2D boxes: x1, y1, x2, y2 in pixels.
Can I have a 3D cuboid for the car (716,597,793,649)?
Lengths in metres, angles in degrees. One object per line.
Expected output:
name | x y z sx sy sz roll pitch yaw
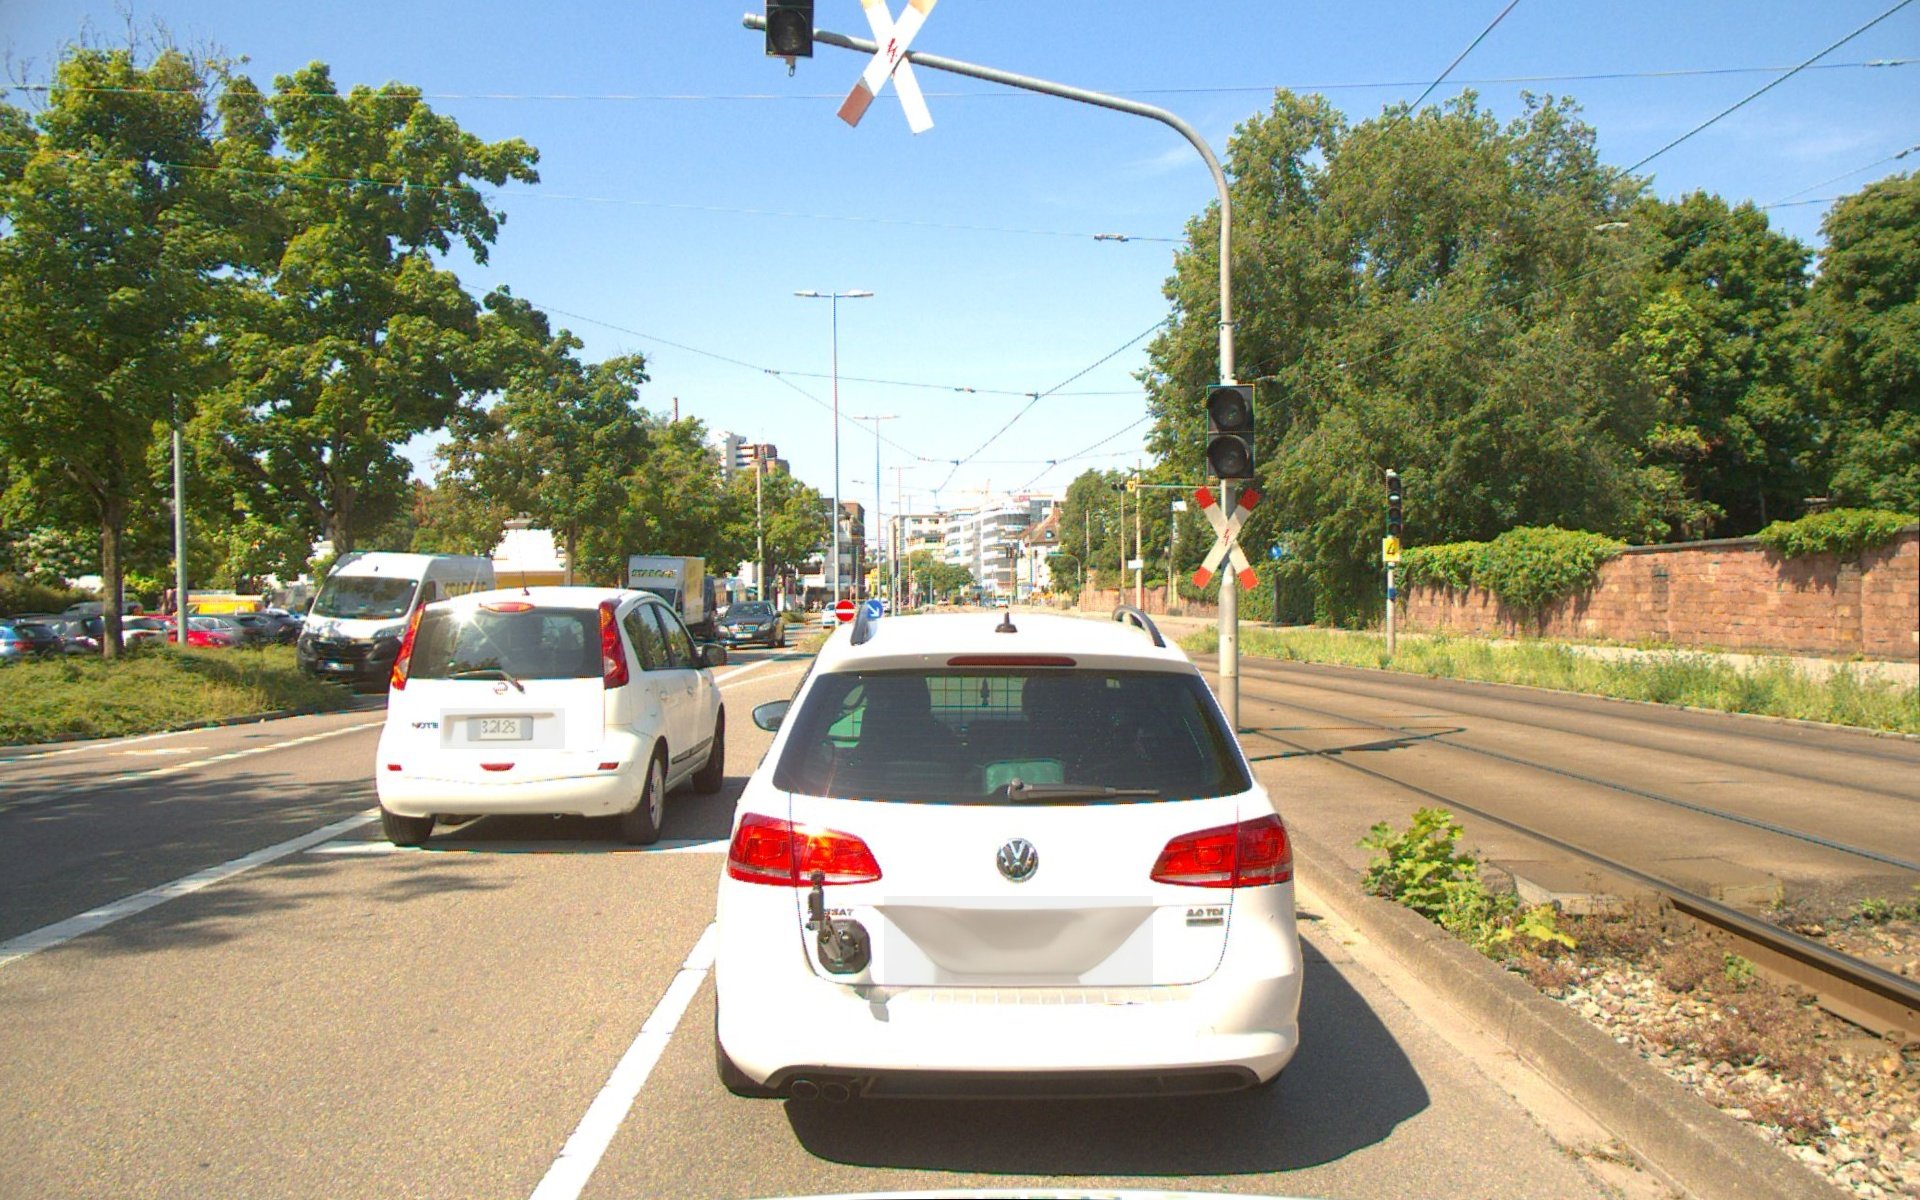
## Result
car | -6.243 0.669 50.665 1.748 1.434 4.306 -1 1 1

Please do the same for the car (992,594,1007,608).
car | 5.928 0.165 247.754 2.083 2.049 5.282 -1 0 -1

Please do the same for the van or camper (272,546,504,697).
van or camper | -10.795 0.367 31.834 2.211 2.558 6.147 -1 0 1

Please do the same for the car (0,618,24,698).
car | -20.889 1.204 32.567 3.907 1.571 1.662 -2 0 -3

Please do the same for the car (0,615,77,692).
car | -21.206 1.168 35.156 3.907 1.571 1.662 -2 0 -3

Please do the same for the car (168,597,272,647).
car | -34.051 0.998 76.189 3.909 2.238 1.909 -1 0 -5

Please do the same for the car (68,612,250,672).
car | -21.070 1.101 43.603 3.906 1.434 1.732 -1 0 -1

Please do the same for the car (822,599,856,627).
car | -6.908 0.718 94.613 1.692 1.491 3.999 -1 0 -1

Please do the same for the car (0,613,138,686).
car | -21.523 1.154 38.483 3.906 1.571 1.663 -2 0 -1

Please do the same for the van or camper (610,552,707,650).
van or camper | -10.824 0.016 59.910 2.151 3.298 6.772 1 0 0

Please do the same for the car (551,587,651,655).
car | -11.114 0.612 51.615 2.152 1.974 5.182 -1 0 -3

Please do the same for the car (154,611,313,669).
car | -21.391 1.161 48.813 3.906 1.571 1.663 -2 0 -1

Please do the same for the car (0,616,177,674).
car | -21.646 1.097 40.815 3.836 1.293 1.663 -2 0 -1

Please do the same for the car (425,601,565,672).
car | -10.653 0.792 38.276 1.893 1.480 4.885 -1 0 -1

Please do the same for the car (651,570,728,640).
car | -11.028 0.168 67.837 2.151 2.715 6.079 1 0 -1

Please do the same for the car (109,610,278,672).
car | -21.316 1.129 46.087 3.906 1.571 1.663 -2 0 -1

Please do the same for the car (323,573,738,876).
car | -2.590 0.669 10.948 1.695 1.624 4.011 0 0 0

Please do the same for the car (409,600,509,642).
car | -22.304 0.924 73.684 3.907 1.724 1.662 -2 0 -3

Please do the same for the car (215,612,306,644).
car | -34.259 1.362 81.043 3.769 1.449 1.531 -1 0 -3

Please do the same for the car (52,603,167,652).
car | -36.575 1.169 71.212 3.909 2.038 1.909 -1 0 -5

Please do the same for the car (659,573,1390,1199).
car | 0.156 0.705 5.936 1.742 1.516 3.846 1 0 0

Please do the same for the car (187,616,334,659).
car | -21.589 1.147 51.129 3.809 1.174 1.663 -2 0 -1

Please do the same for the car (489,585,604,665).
car | -11.067 0.617 44.614 2.153 1.974 5.180 -1 0 -5

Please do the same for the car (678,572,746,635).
car | -11.113 0.145 74.552 2.151 2.676 5.978 1 0 -1
